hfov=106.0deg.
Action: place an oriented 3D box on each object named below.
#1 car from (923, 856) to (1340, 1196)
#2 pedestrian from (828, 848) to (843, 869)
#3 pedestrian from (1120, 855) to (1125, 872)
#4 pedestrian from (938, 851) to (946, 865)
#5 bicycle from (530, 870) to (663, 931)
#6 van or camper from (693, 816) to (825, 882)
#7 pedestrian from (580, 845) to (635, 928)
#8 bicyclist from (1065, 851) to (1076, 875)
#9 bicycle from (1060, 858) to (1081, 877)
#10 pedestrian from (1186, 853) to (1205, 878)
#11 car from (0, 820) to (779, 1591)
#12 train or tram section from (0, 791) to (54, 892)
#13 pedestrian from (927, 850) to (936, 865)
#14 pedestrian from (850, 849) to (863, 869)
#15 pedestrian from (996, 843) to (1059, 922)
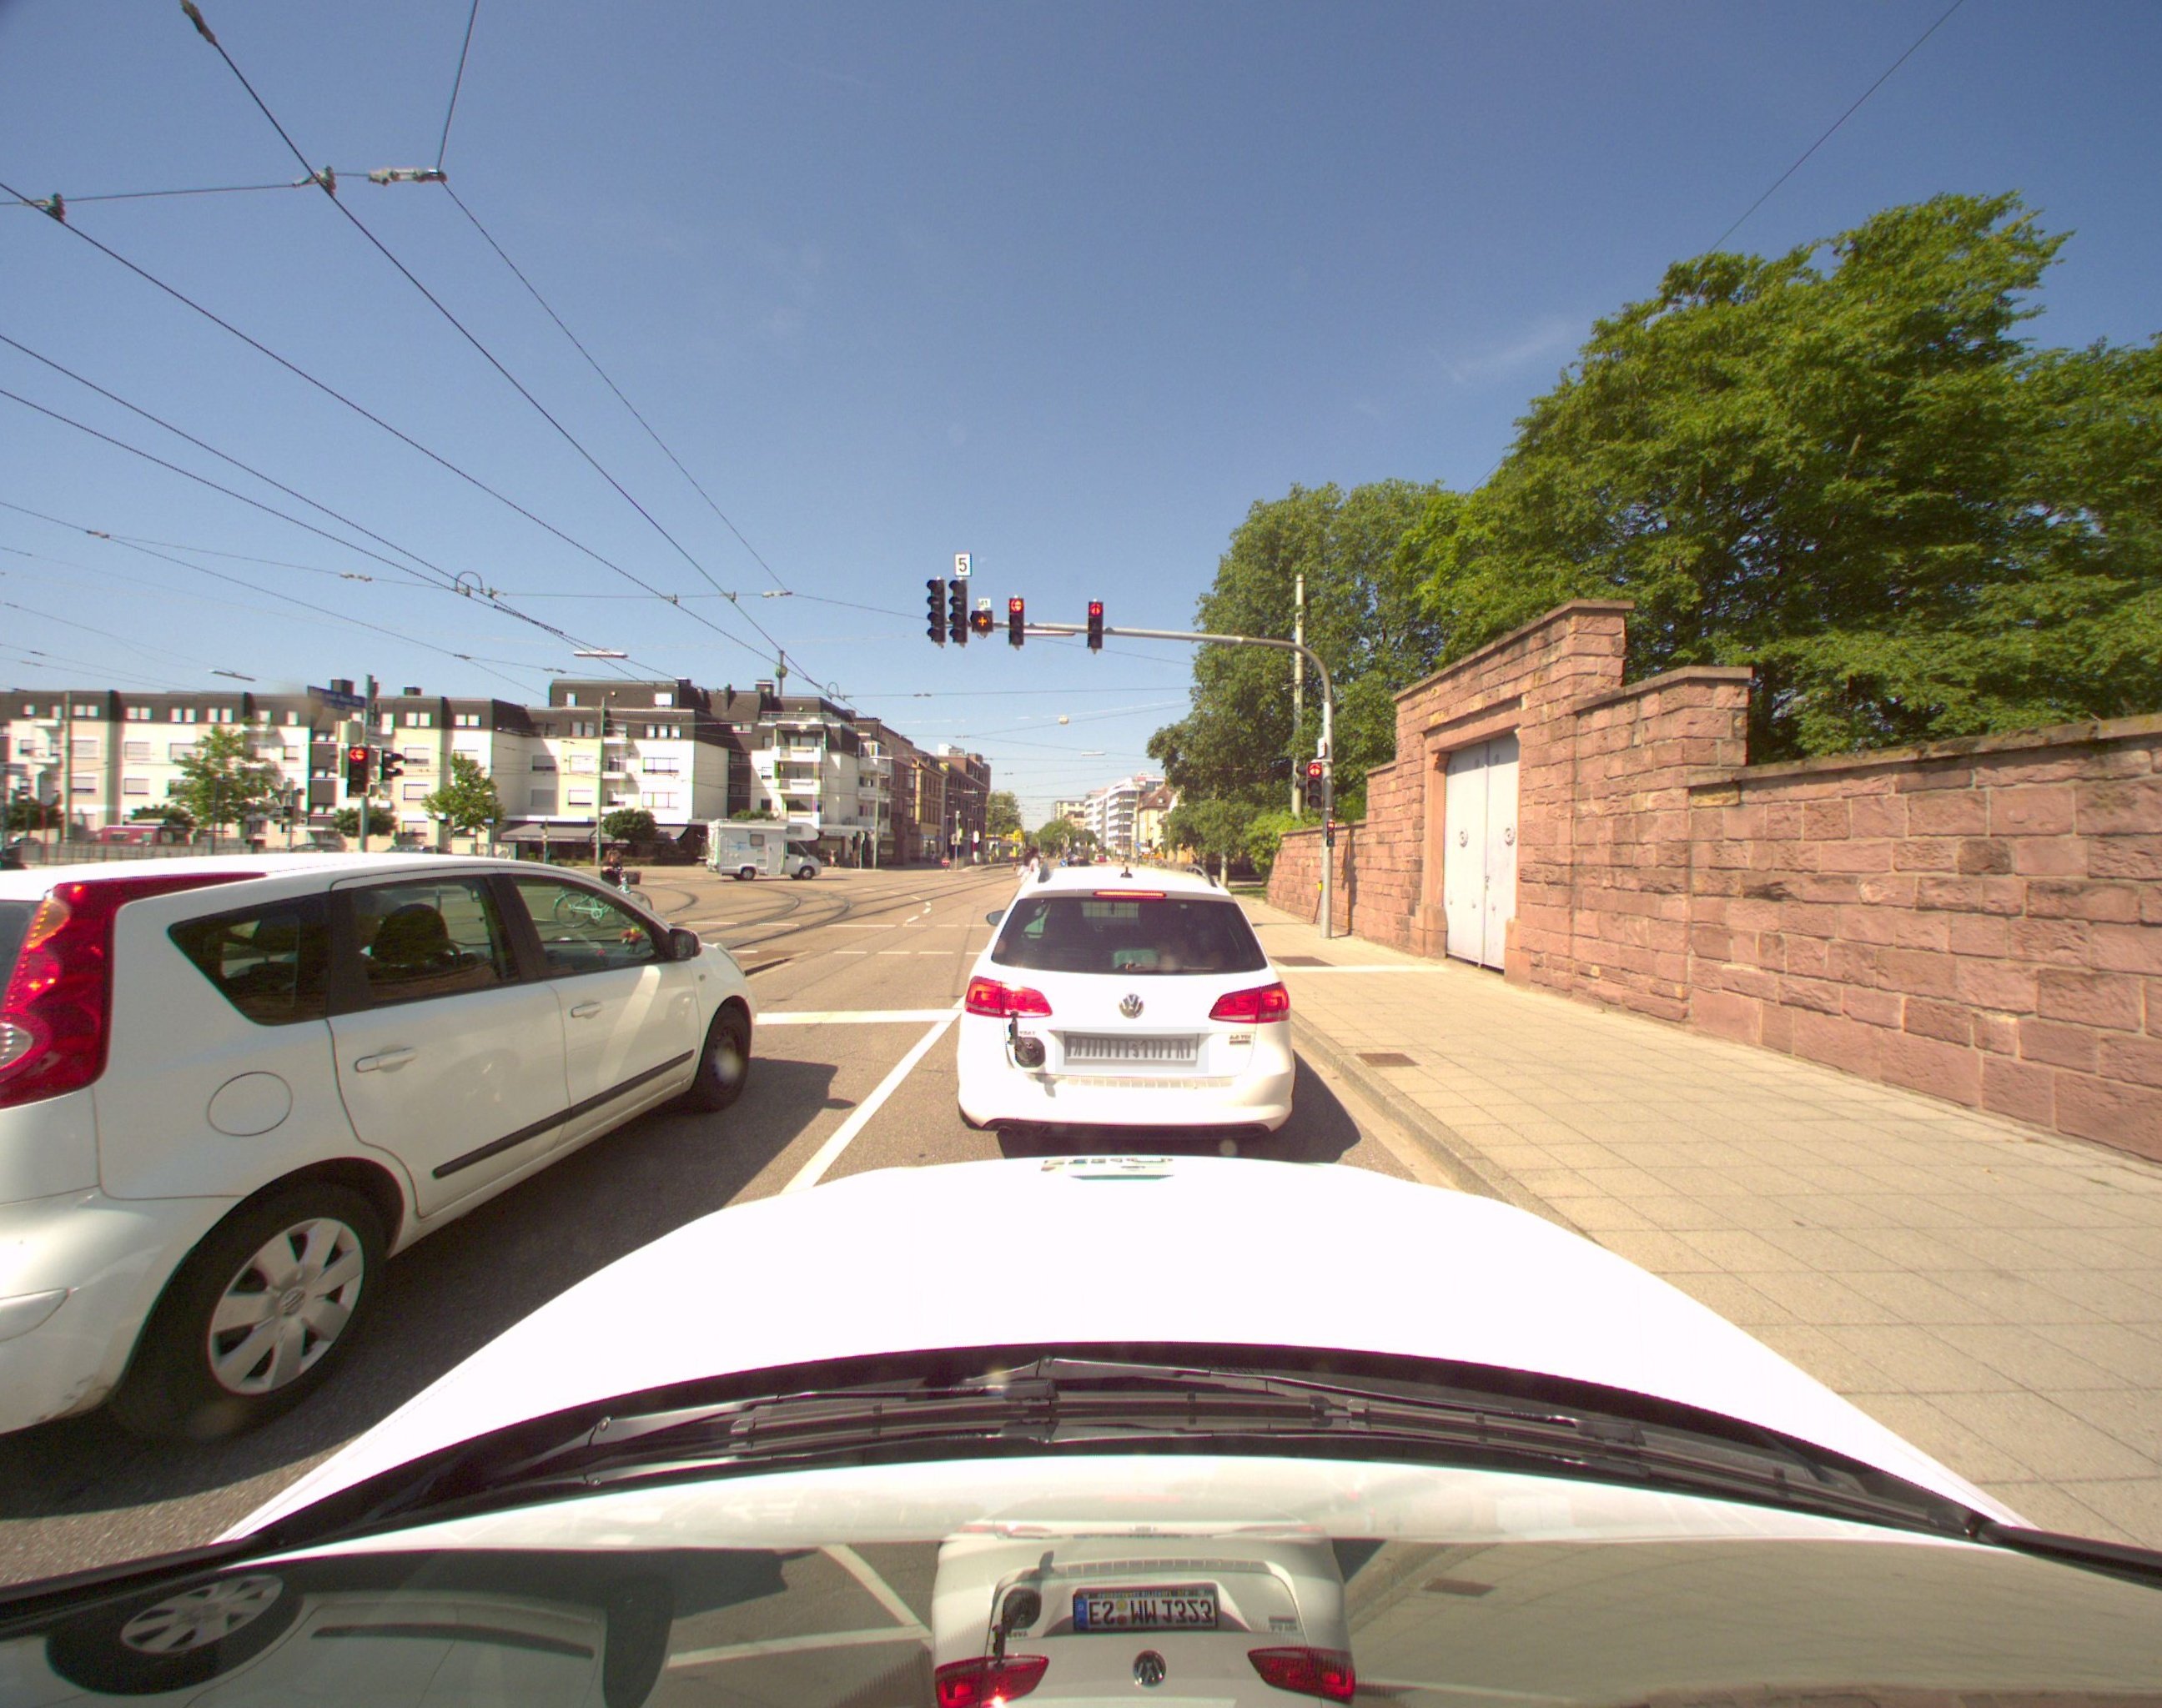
[{"bbox_3d":[0.276,0.752,5.550,1.801,1.448,4.001,1,0,1],"label":"car"},{"bbox_3d":[-21.065,0.392,69.958,0.980,1.743,0.854,0,-2,-41],"label":"pedestrian"},{"bbox_3d":[5.856,1.352,115.264,0.687,2.325,1.233,-1,-1,3],"label":"pedestrian"},{"bbox_3d":[-17.412,0.499,102.019,0.860,1.743,0.973,-1,-1,-4],"label":"pedestrian"},{"bbox_3d":[-9.136,0.867,15.440,2.021,1.090,0.707,1,1,-13],"label":"bicycle"},{"bbox_3d":[-15.990,-0.205,40.549,5.726,3.093,2.548,0,-1,-34],"label":"van or camper"},{"bbox_3d":[-9.264,0.624,15.953,0.746,1.571,0.672,-1,0,-13],"label":"pedestrian"},{"bbox_3d":[-0.725,0.625,55.511,0.556,1.613,0.641,-1,-1,22],"label":"bicyclist"},{"bbox_3d":[-0.712,0.919,55.510,0.553,1.297,2.261,-1,-1,21],"label":"bicycle"},{"bbox_3d":[8.054,0.782,57.293,0.962,1.743,0.870,-2,-2,40],"label":"pedestrian"},{"bbox_3d":[-2.904,0.700,3.559,1.636,1.566,3.805,-1,1,1],"label":"car"},{"bbox_3d":[-63.492,-0.515,41.501,16.149,5.150,4.735,-1,-1,0],"label":"train or tram section"},{"bbox_3d":[-17.586,0.384,95.698,0.860,1.743,0.973,-1,-1,-4],"label":"pedestrian"},{"bbox_3d":[-20.074,0.438,72.829,0.978,1.743,0.856,0,-2,-30],"label":"pedestrian"},{"bbox_3d":[-1.174,0.612,17.859,0.980,1.651,0.945,0,-2,-40],"label":"pedestrian"}]
